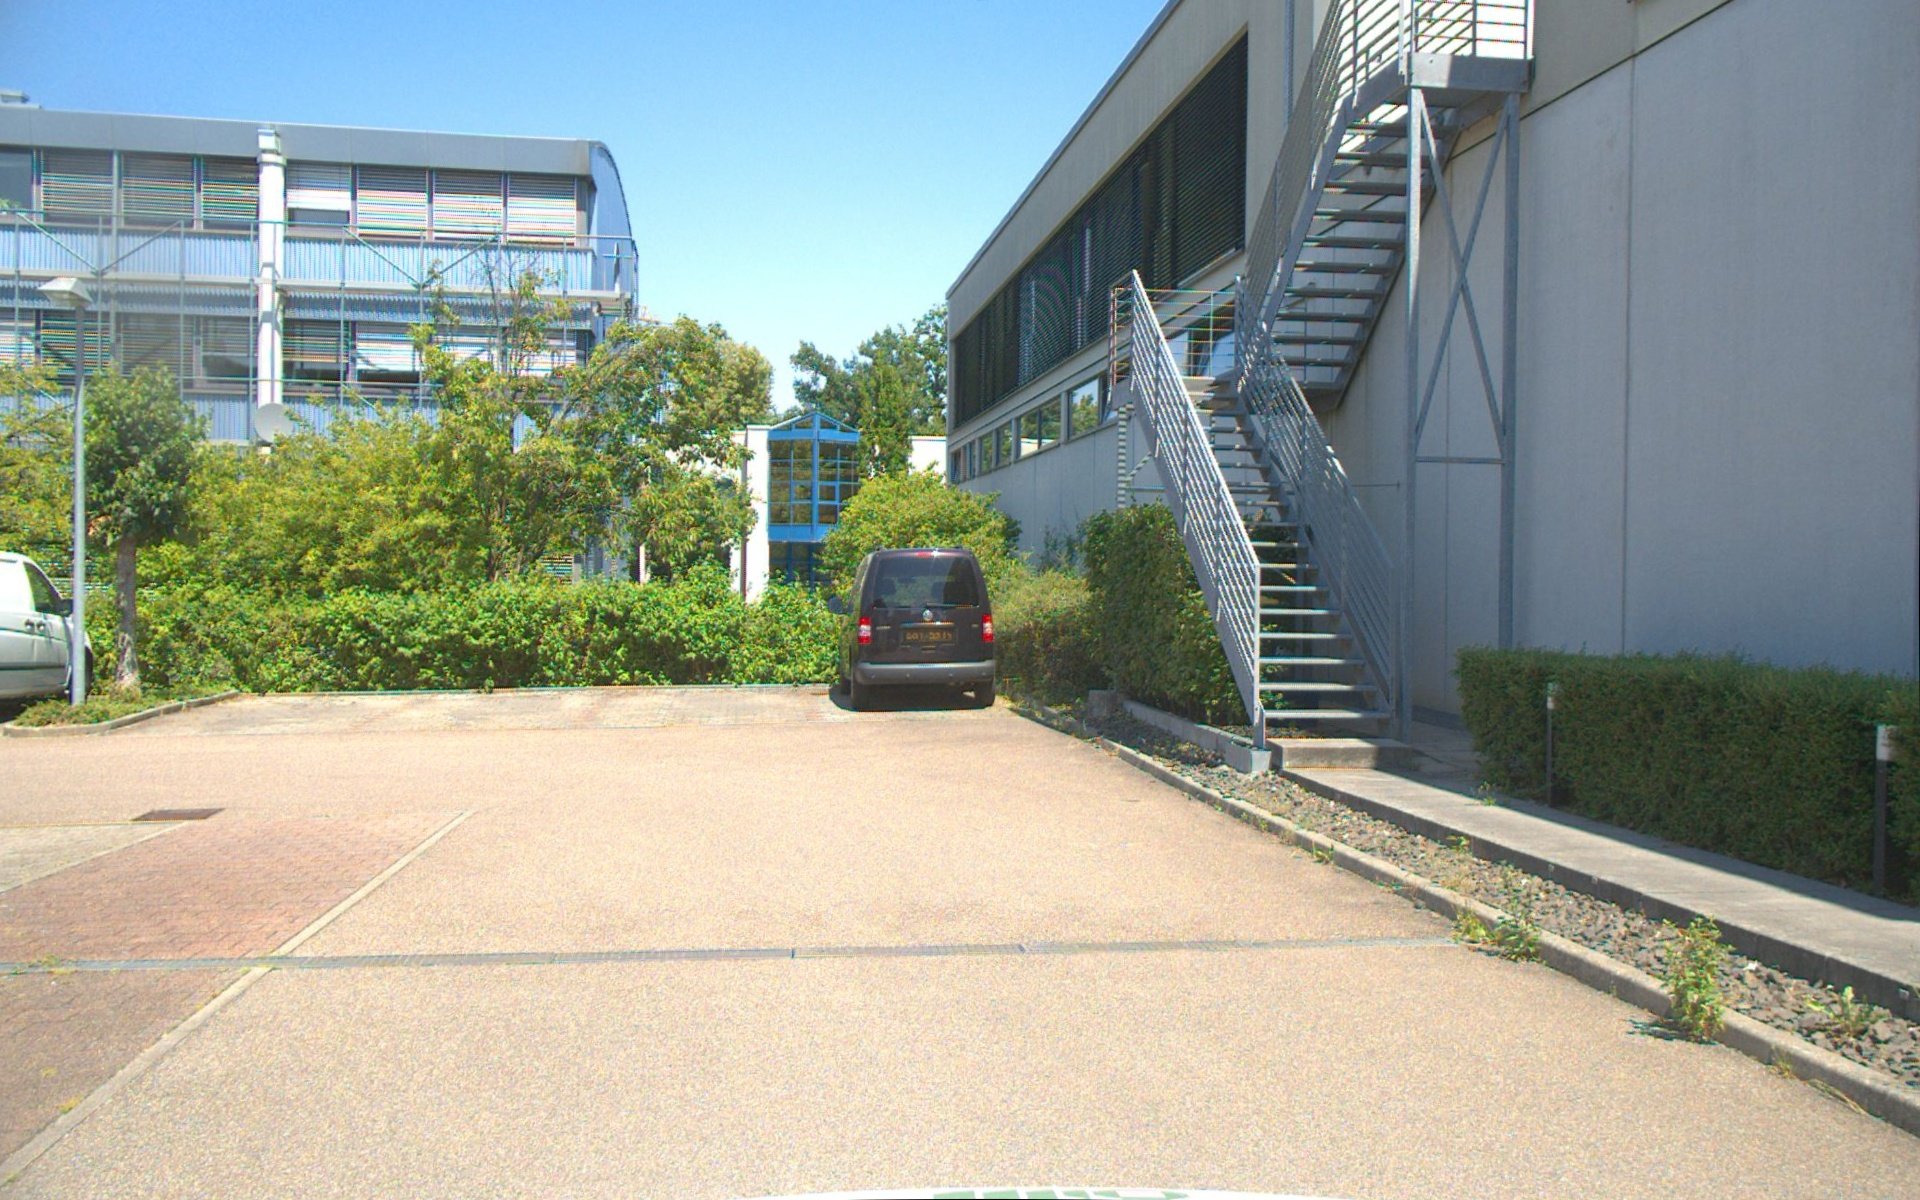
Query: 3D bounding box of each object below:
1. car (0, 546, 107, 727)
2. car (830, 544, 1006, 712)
[{"bbox_3d":[-11.381,0.388,18.470,1.878,1.938,4.798,-1,1,-9],"label":"car"},{"bbox_3d":[-0.621,0.281,20.705,1.711,1.869,3.992,-1,1,-9],"label":"car"}]
